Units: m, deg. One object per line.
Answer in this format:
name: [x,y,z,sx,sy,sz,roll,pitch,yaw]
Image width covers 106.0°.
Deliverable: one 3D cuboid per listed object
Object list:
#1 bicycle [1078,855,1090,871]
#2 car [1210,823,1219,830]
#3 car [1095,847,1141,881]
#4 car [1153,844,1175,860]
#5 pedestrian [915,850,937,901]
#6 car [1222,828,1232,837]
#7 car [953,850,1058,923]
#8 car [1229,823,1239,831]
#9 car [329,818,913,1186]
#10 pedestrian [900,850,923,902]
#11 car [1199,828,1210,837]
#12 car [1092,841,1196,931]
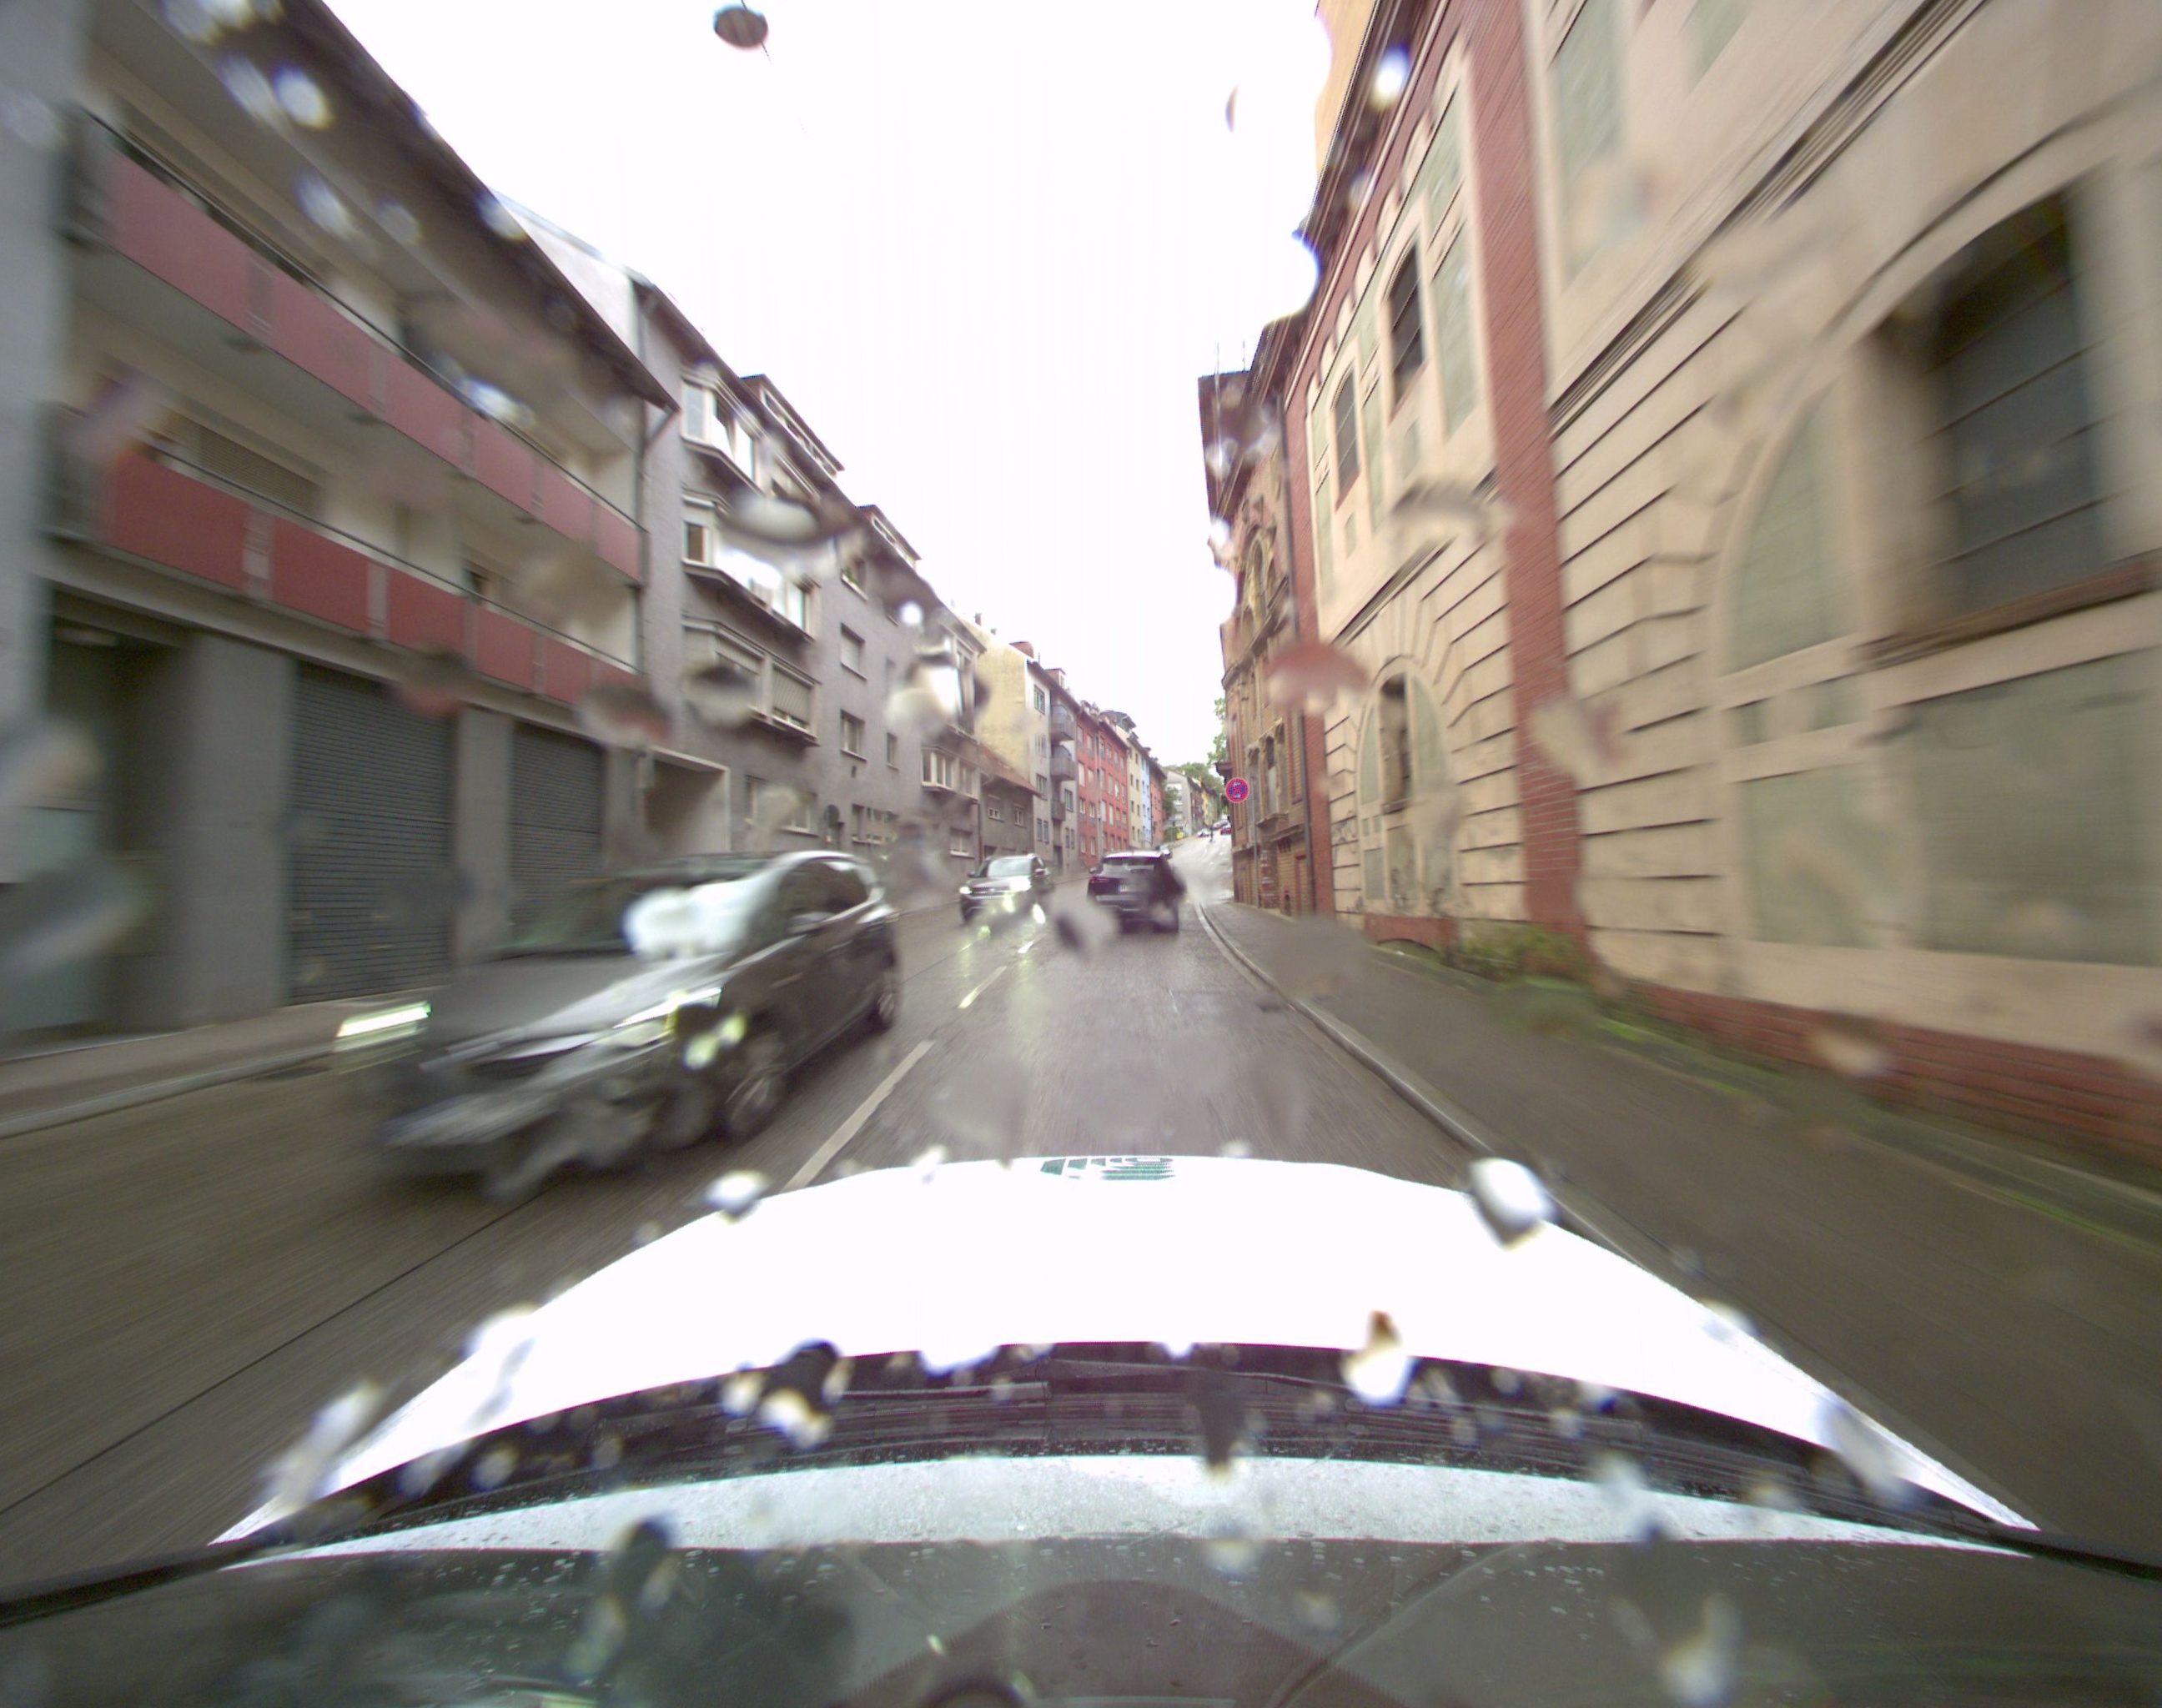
bicycle: [0.230,0.635,59.959,0.495,1.107,1.807,-2,1,13]
car: [31.483,-6.583,191.942,1.782,1.510,4.014,-3,1,12]
car: [1.964,0.506,41.812,1.753,1.576,4.047,-3,0,10]
car: [8.371,-0.208,81.762,1.632,1.378,3.866,-4,0,14]
pedestrian: [-5.473,0.750,28.810,0.520,1.776,0.623,-3,0,6]
car: [27.847,-4.136,155.368,1.782,1.510,4.014,-3,1,12]
car: [-1.774,0.748,20.363,1.755,1.576,3.772,-3,0,7]
car: [32.138,-5.601,171.018,1.782,1.510,4.014,-3,1,12]
car: [-2.593,0.709,5.844,1.758,1.657,3.989,-3,0,2]
pedestrian: [-6.011,0.773,28.853,0.520,1.776,0.623,-3,0,6]
car: [22.191,-3.917,146.442,1.702,1.447,3.935,-3,2,12]
car: [1.254,0.610,17.273,1.874,1.594,3.923,-3,0,2]
